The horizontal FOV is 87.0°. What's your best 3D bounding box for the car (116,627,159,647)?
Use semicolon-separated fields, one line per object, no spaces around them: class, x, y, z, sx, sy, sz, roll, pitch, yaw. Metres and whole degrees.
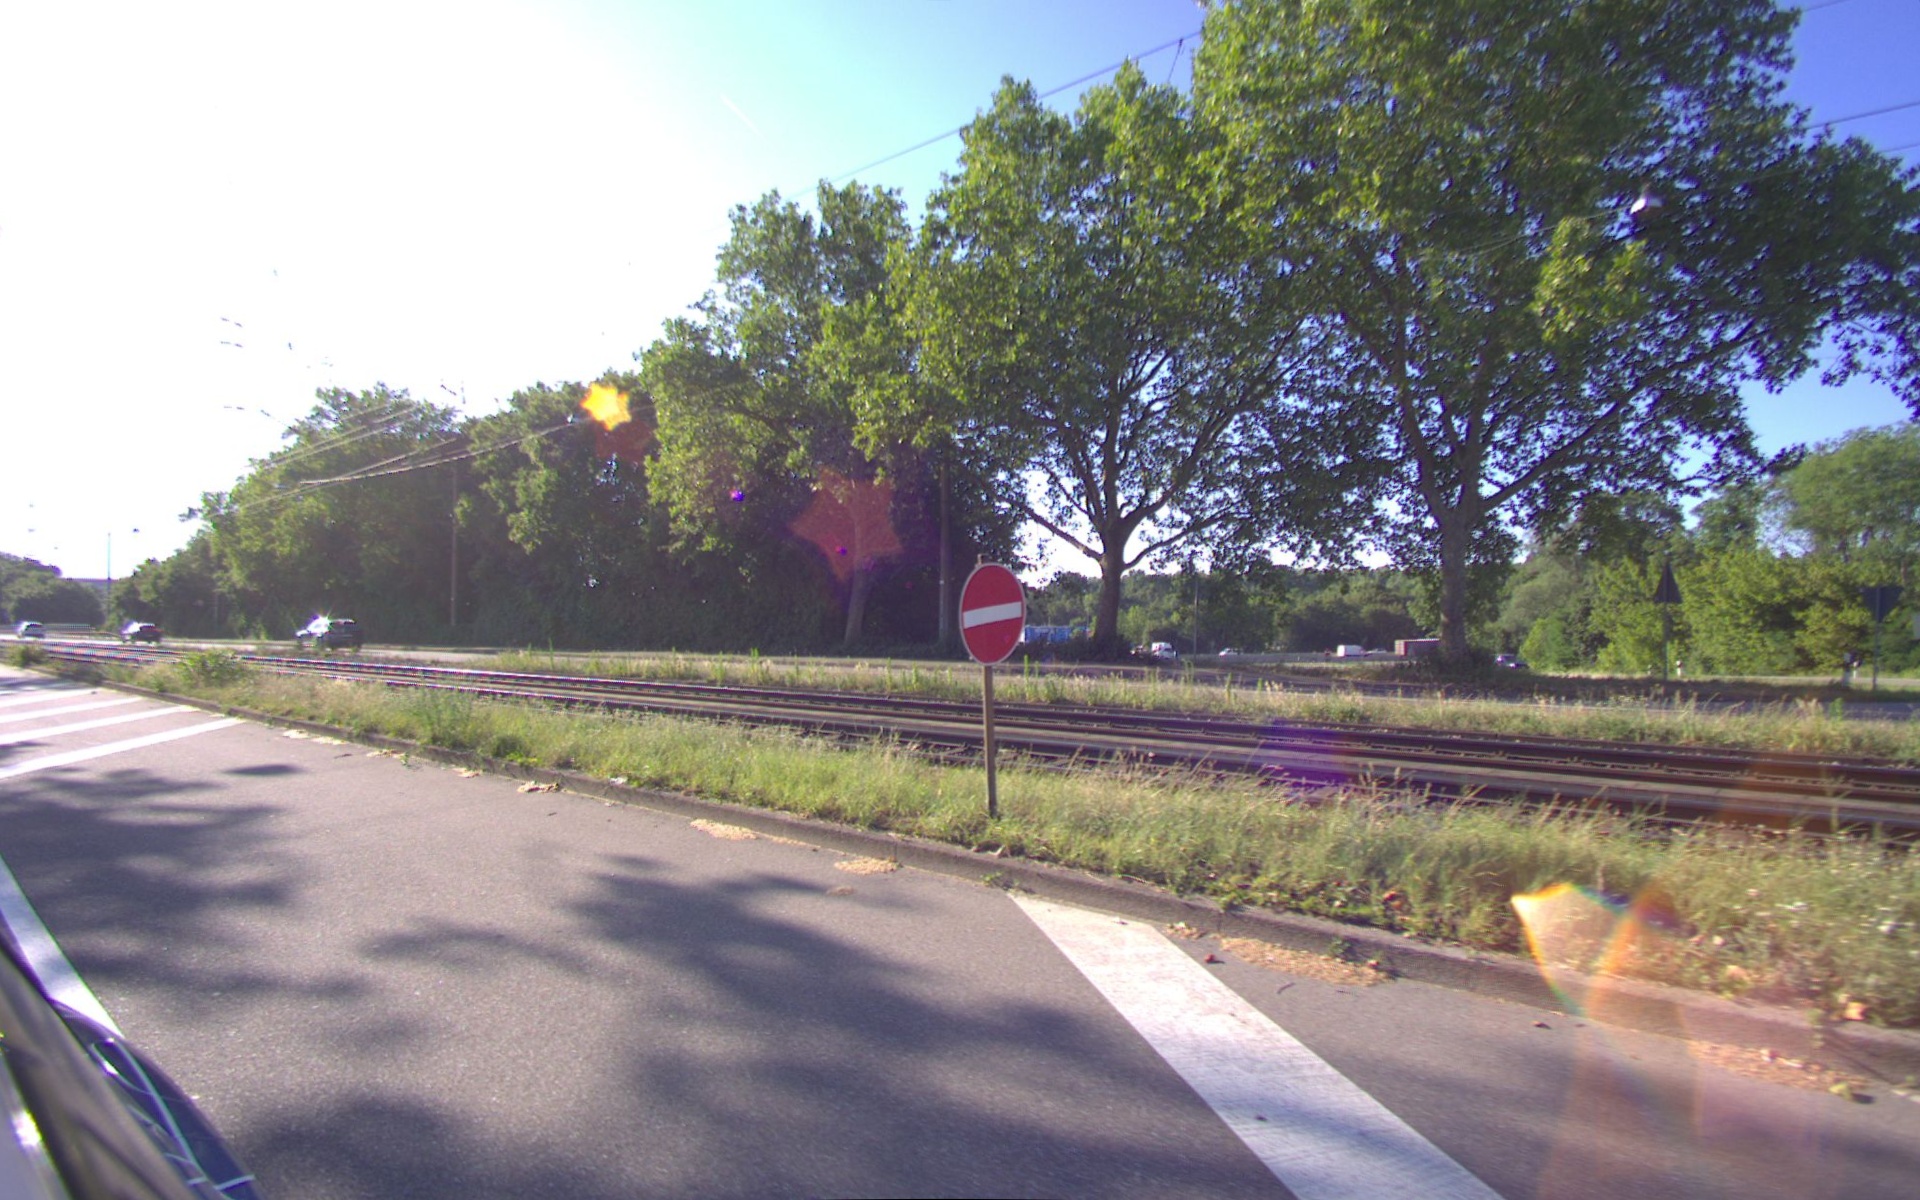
car;-63.608;2.852;78.209;4.343;1.479;1.694;-2;-4;39

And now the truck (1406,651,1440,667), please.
truck;51.368;6.535;112.298;1.634;1.537;4.130;3;-3;-4

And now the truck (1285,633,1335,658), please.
truck;38.314;4.979;110.678;4.944;2.540;2.072;-1;0;-20

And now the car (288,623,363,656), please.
car;-34.043;2.112;54.261;4.935;1.707;1.880;-1;-3;39

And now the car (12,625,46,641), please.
car;-100.902;3.568;109.712;4.938;1.720;1.943;-1;-3;39
